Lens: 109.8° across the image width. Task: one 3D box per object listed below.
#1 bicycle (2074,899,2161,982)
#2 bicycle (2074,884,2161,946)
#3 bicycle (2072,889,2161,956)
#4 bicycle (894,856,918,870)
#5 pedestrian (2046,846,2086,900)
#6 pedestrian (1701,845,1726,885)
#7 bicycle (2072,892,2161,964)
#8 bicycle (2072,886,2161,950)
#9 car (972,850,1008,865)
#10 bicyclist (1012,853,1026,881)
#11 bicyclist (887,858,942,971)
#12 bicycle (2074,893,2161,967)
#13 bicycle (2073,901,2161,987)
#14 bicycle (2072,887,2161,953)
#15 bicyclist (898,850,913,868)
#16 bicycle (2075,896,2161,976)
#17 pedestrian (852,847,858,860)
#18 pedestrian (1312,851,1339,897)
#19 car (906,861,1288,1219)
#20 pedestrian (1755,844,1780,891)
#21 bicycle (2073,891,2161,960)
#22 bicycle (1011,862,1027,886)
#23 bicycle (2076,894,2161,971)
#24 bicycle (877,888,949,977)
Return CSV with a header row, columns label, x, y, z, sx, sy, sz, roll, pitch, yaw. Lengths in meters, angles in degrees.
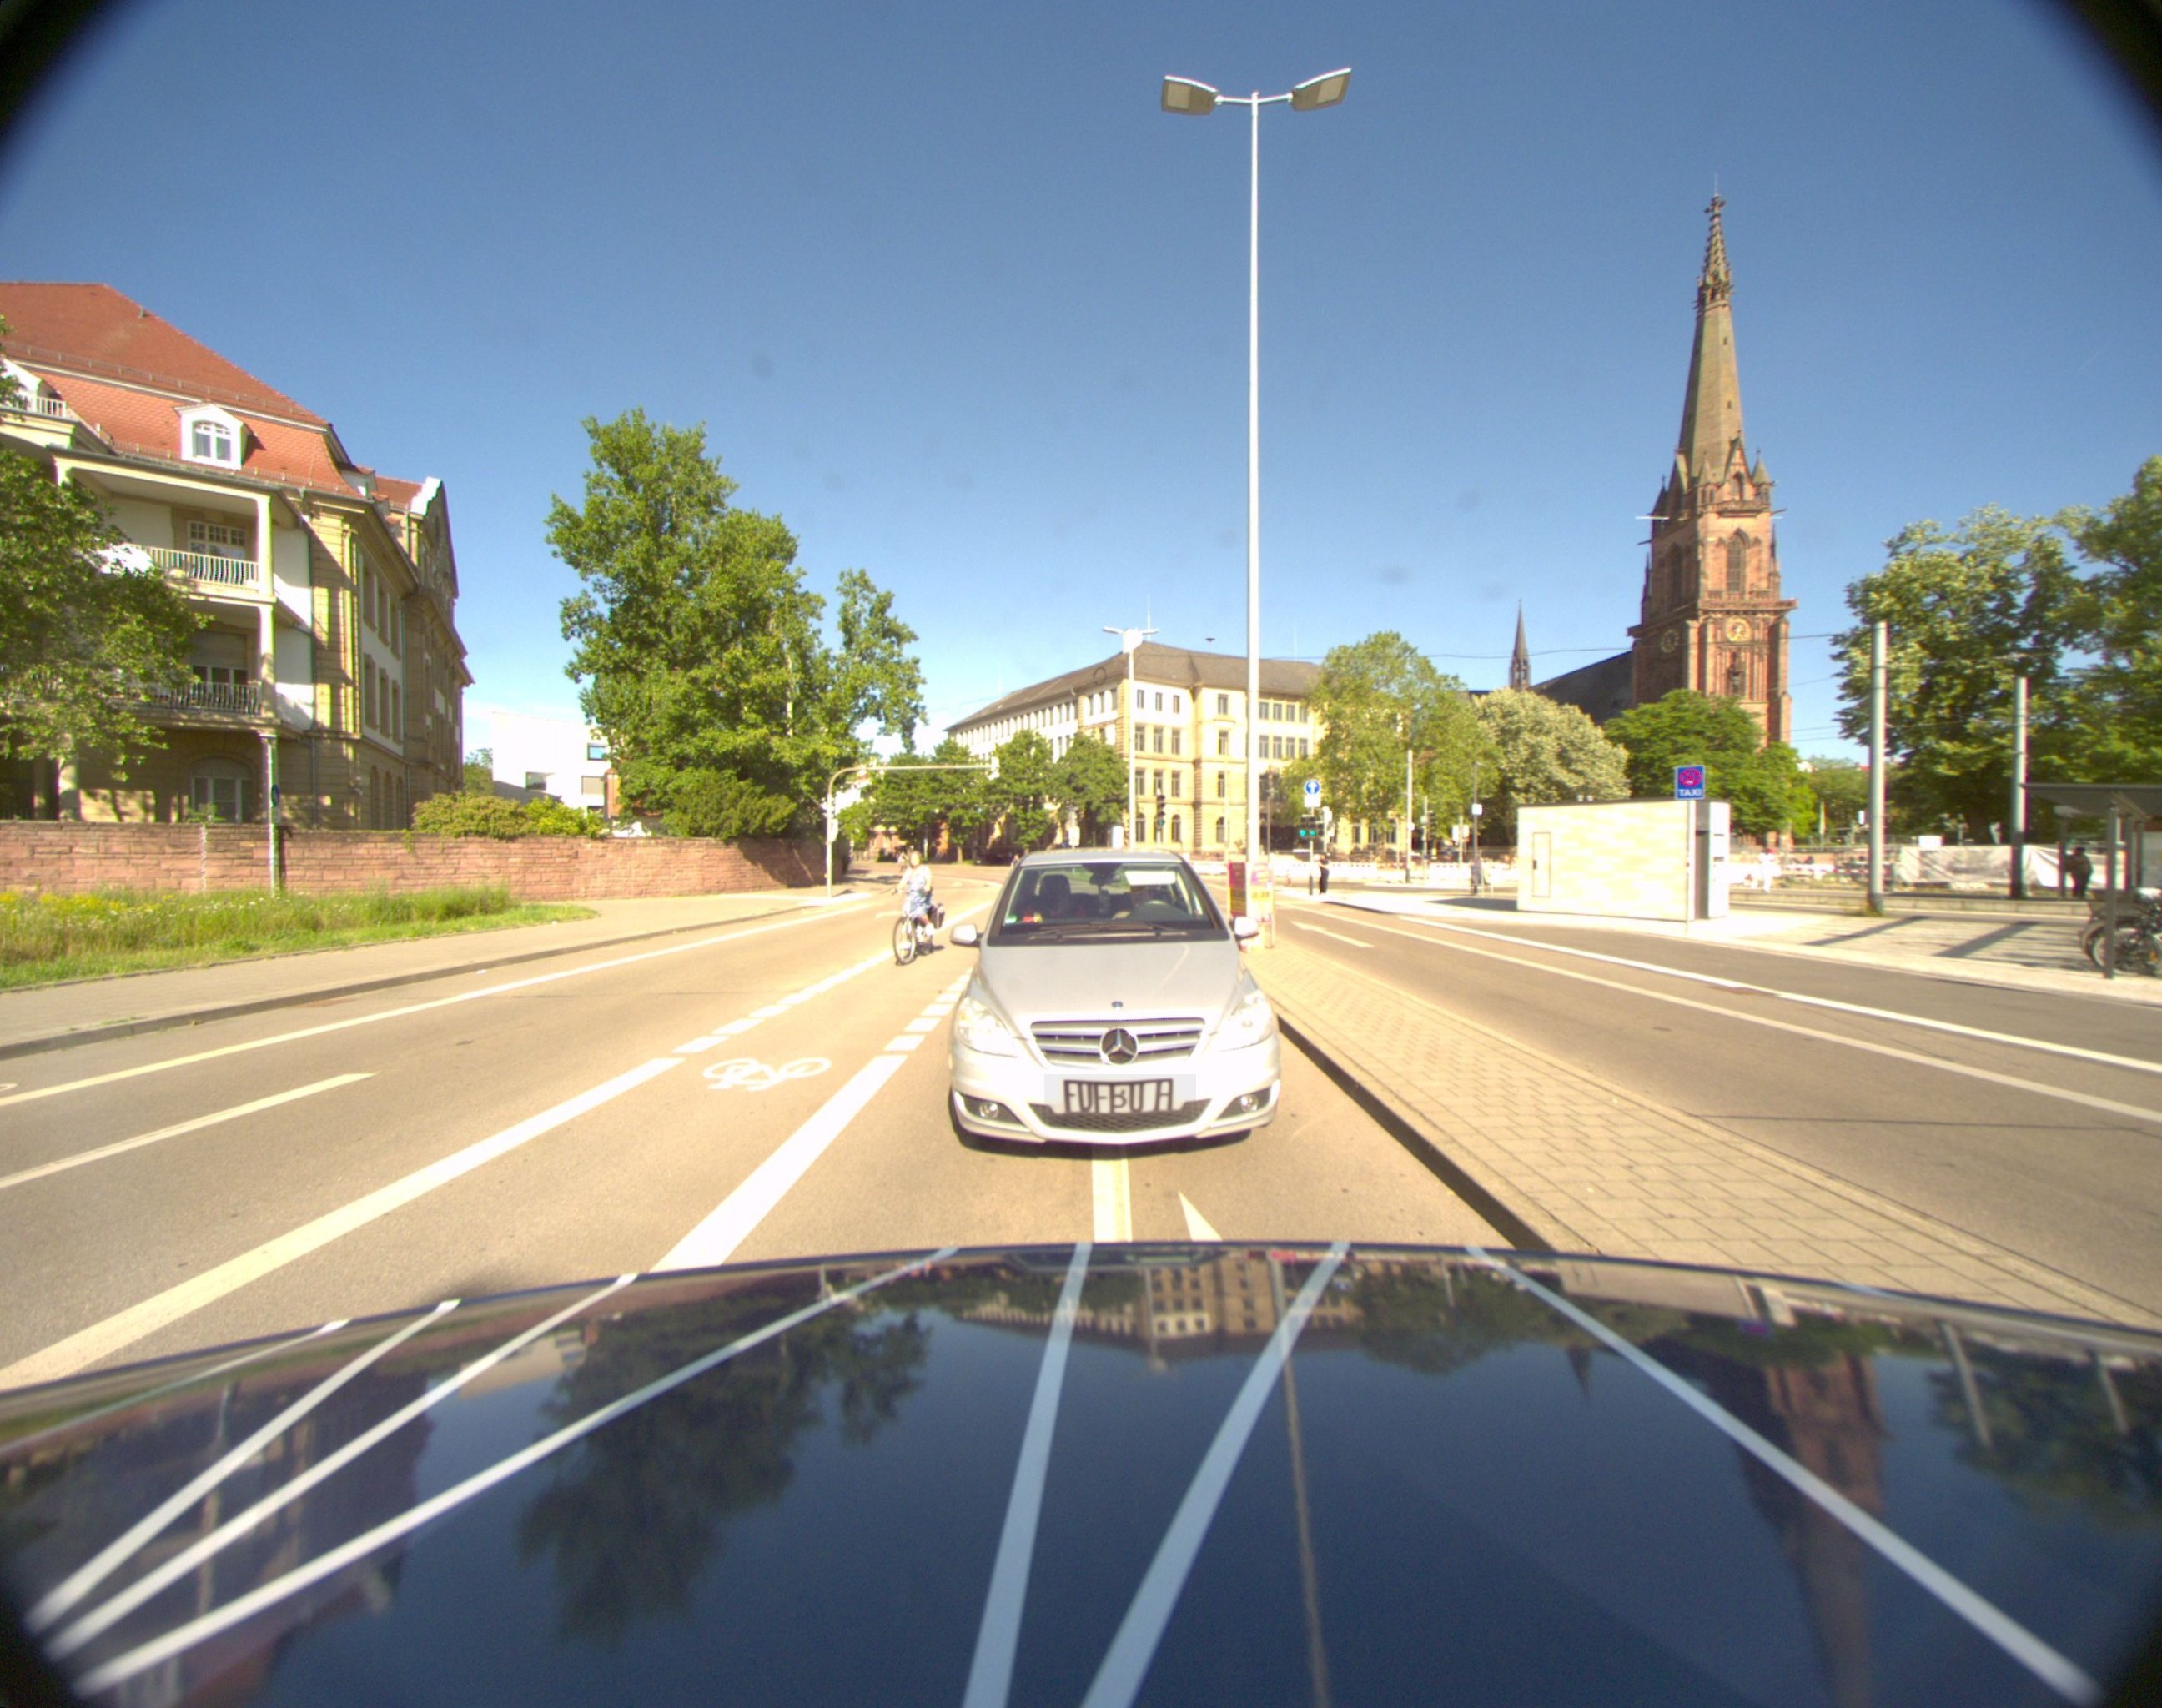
label,x,y,z,sx,sy,sz,roll,pitch,yaw
bicycle,14.546,1.169,9.983,0.569,1.032,1.783,1,1,-37
bicycle,19.139,1.105,13.497,0.569,1.032,1.783,1,1,-37
bicycle,17.697,1.140,12.425,0.569,1.032,1.783,1,1,-37
bicycle,-15.183,0.777,65.745,1.963,1.158,0.780,-1,1,28
pedestrian,30.616,0.581,23.620,0.567,1.645,0.518,-2,1,1
pedestrian,27.610,0.484,33.168,0.540,1.712,0.680,3,-4,-34
bicycle,16.679,1.160,11.638,0.569,1.032,1.783,1,1,-37
bicycle,18.654,1.117,13.152,0.569,1.032,1.783,1,1,-37
car,-10.814,0.411,90.481,1.994,1.805,3.809,1,1,44
bicyclist,-3.172,0.651,38.906,0.643,1.436,0.953,-1,0,1
bicyclist,-2.554,0.908,11.719,0.643,1.653,0.776,-1,2,0
bicycle,16.200,1.150,11.246,0.569,1.032,1.783,1,1,-37
bicycle,14.021,1.178,9.592,0.569,1.032,1.783,1,1,-37
bicycle,18.169,1.128,12.790,0.569,1.032,1.783,1,1,-37
bicyclist,-15.160,0.463,65.720,0.917,1.543,0.780,-1,1,28
bicycle,15.149,1.163,10.441,0.569,1.032,1.783,1,1,-37
pedestrian,-29.360,-0.046,98.624,0.637,1.602,0.845,-3,1,-18
pedestrian,9.282,0.754,28.874,0.789,1.671,0.648,-2,1,2
car,0.125,0.902,5.883,1.770,1.584,4.638,-1,1,1
pedestrian,25.377,0.506,28.090,0.537,1.712,0.684,-1,-4,31
bicycle,17.171,1.151,12.013,0.569,1.032,1.783,1,1,-37
bicycle,-3.164,1.024,38.866,0.642,1.158,1.870,-1,0,1
bicycle,15.703,1.151,10.854,0.569,1.032,1.783,1,1,-37
bicycle,-2.546,1.158,11.738,0.642,1.158,1.968,-1,1,1
